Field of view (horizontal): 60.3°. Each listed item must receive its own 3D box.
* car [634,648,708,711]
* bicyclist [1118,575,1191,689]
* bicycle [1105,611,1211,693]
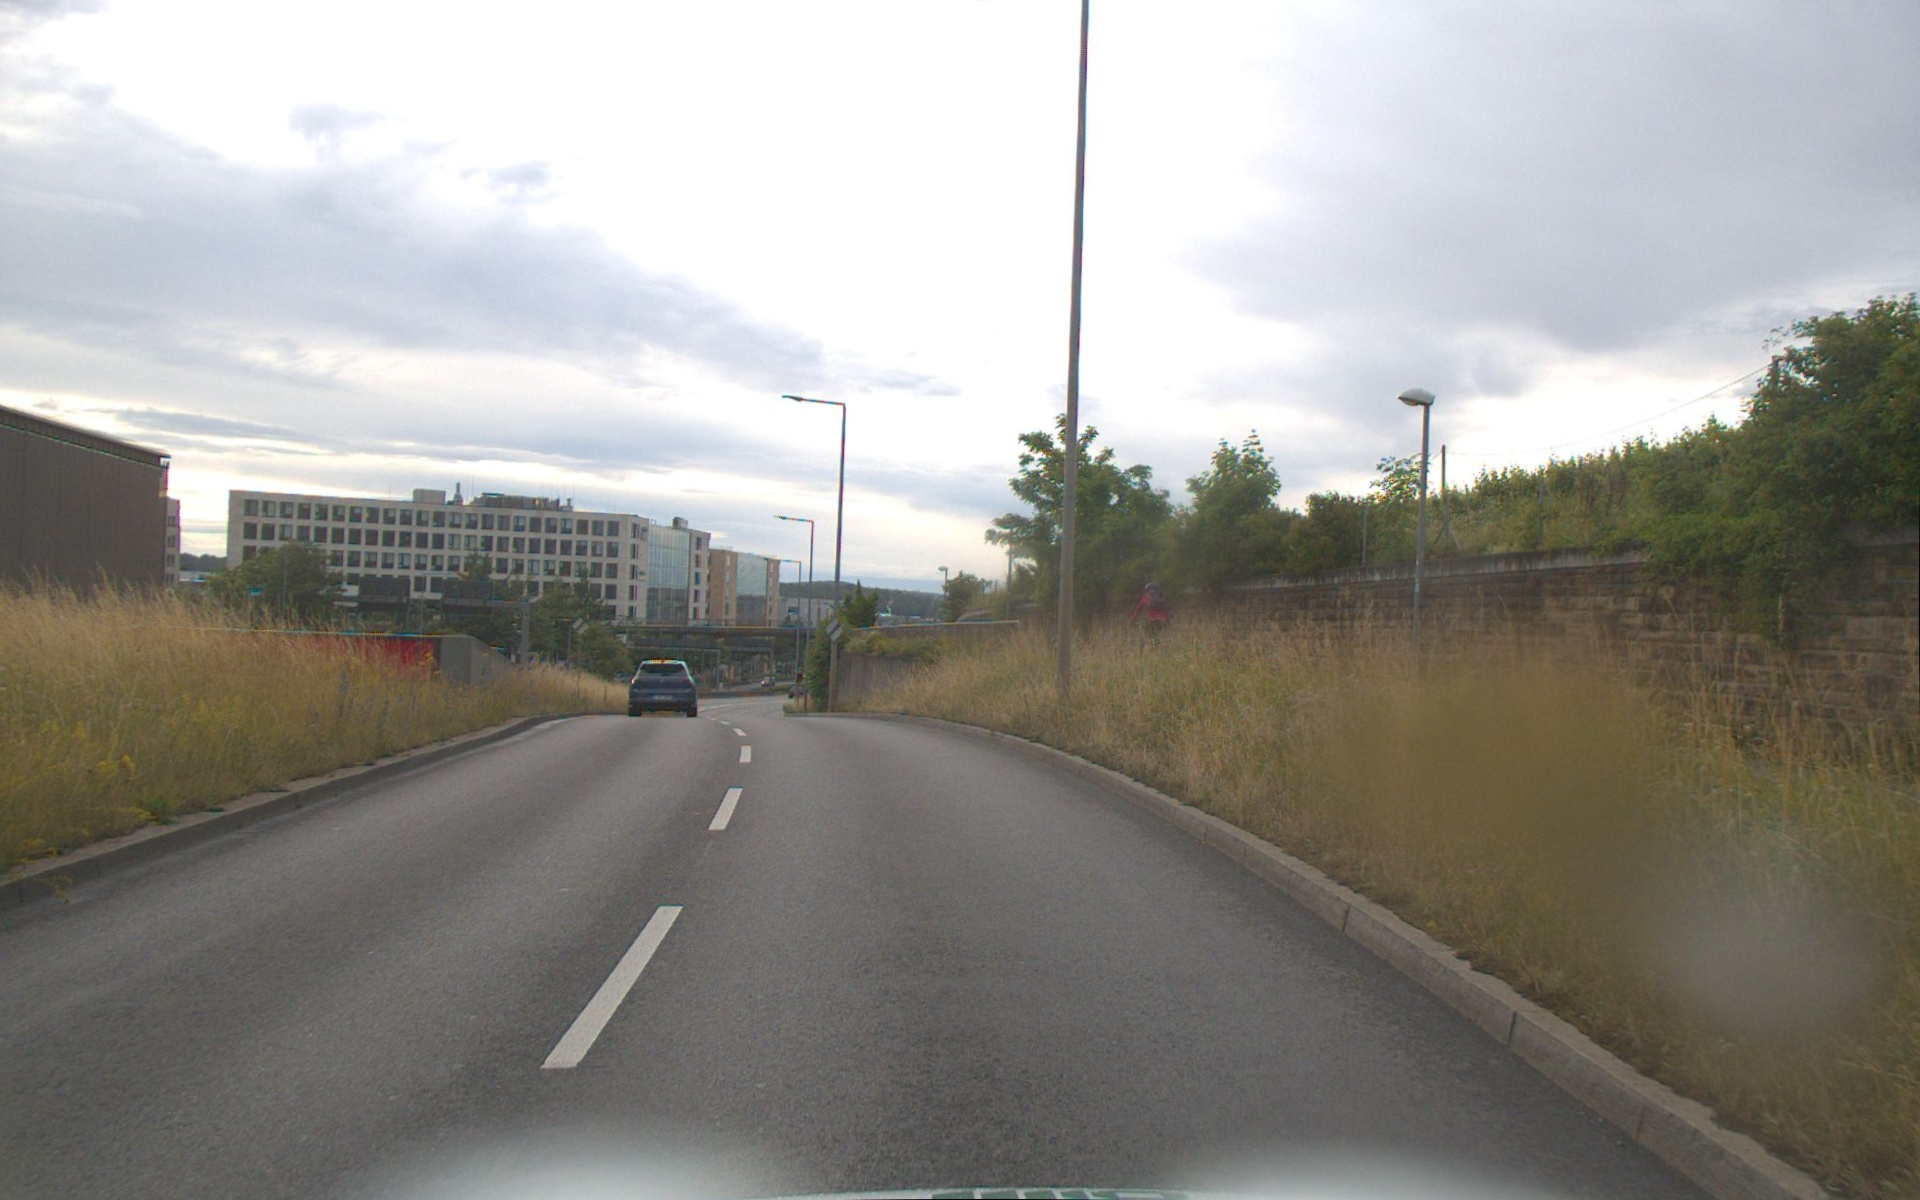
[{"bbox_3d":[-7.571,2.065,43.588,1.716,1.445,3.472,2,-1,-8],"label":"car"},{"bbox_3d":[3.480,0.576,29.707,0.853,1.942,1.291,4,-2,-10],"label":"bicyclist"},{"bbox_3d":[3.491,0.890,29.591,0.853,1.310,3.478,4,-1,-10],"label":"bicycle"}]
